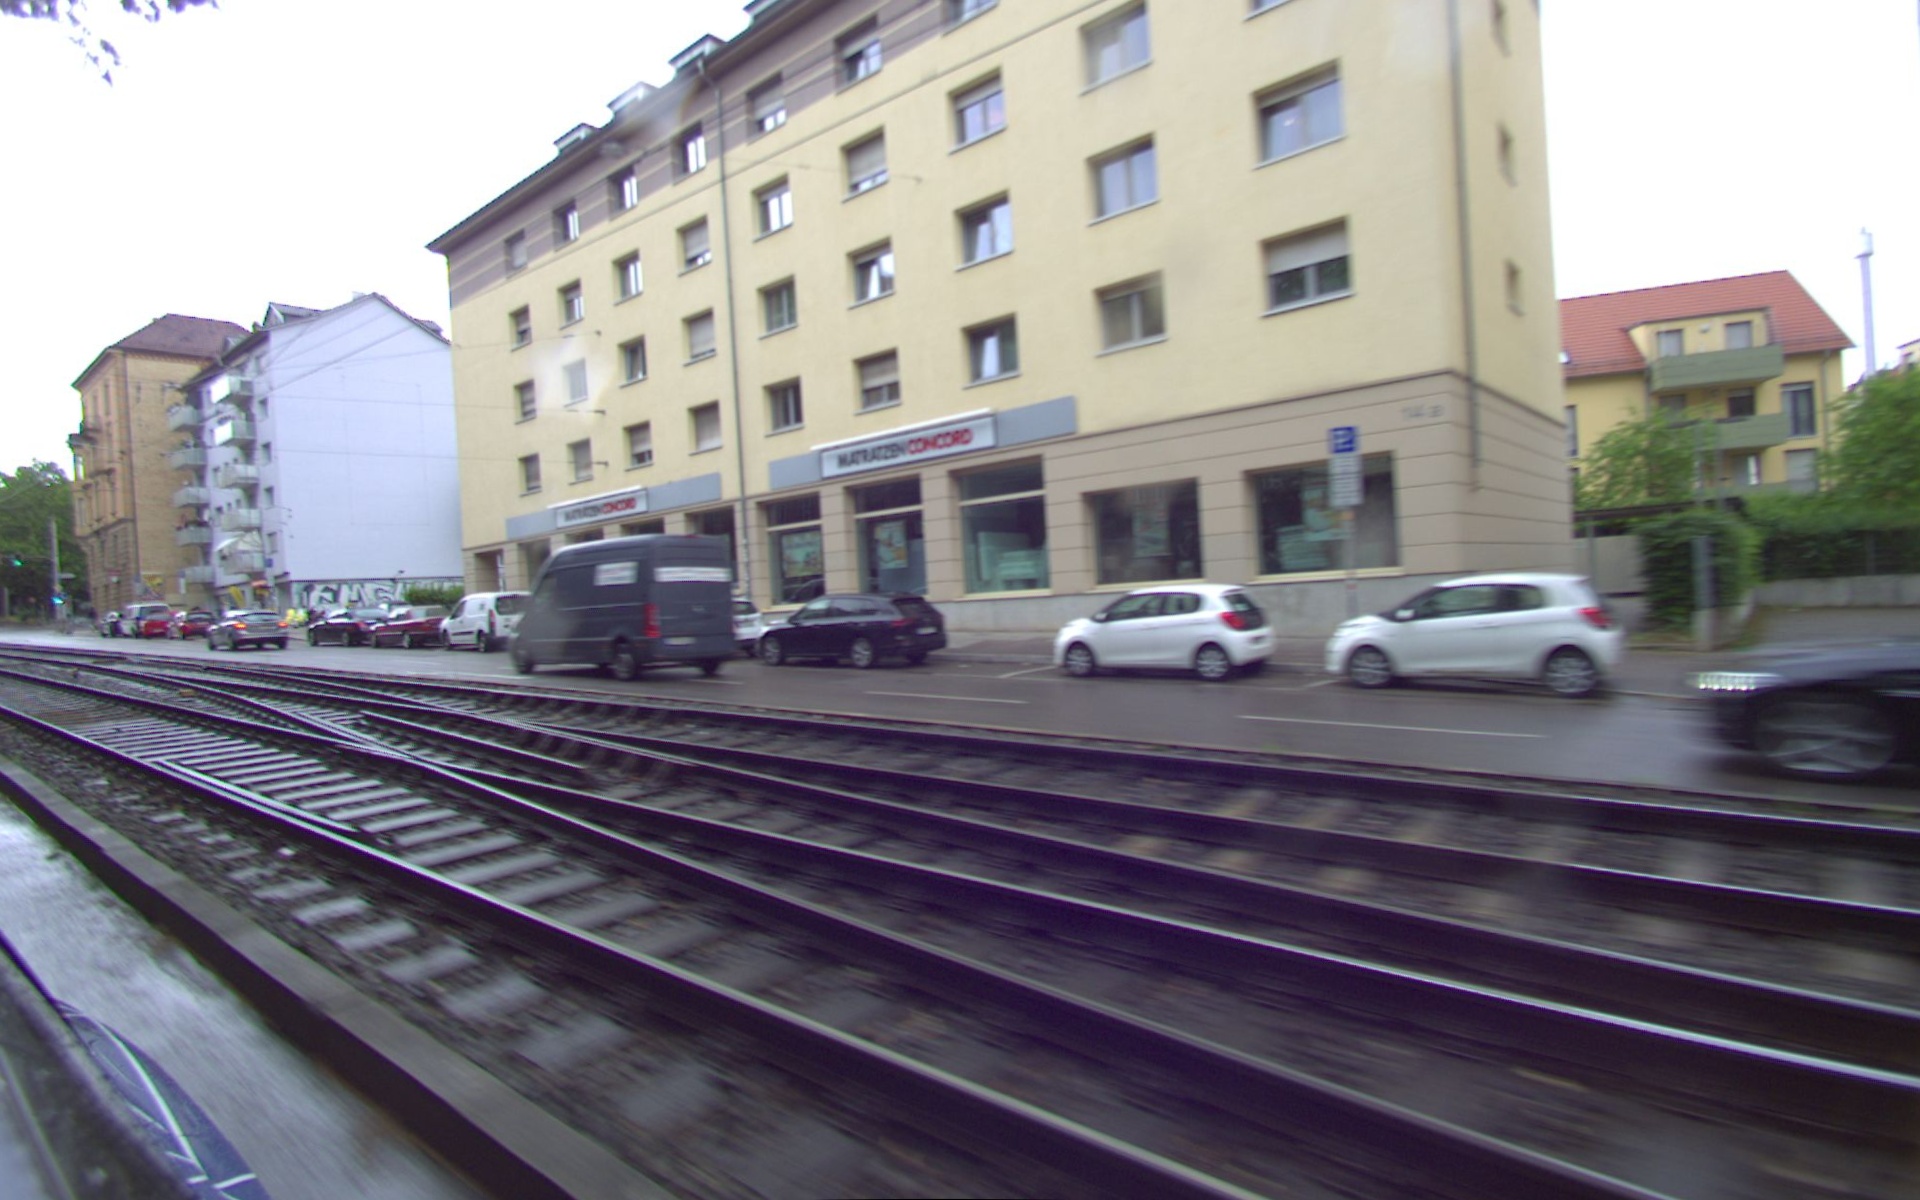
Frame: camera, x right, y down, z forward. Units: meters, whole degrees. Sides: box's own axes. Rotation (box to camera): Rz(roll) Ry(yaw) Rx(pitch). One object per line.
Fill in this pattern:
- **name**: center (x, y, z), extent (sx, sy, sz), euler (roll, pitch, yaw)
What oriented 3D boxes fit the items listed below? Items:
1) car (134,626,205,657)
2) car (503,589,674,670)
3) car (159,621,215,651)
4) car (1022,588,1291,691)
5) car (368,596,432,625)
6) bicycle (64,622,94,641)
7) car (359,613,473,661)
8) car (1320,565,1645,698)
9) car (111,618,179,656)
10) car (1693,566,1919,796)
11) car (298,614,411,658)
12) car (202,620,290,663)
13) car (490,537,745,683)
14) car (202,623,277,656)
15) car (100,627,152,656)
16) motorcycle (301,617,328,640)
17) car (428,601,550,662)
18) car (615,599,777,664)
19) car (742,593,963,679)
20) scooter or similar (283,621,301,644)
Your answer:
- **car**: center (-45.138, 2.343, 57.902), extent (1.755, 1.444, 3.994), euler (-3, 1, -16)
- **car**: center (-10.241, 0.785, 27.661), extent (5.457, 1.919, 1.973), euler (-2, 2, 42)
- **car**: center (-40.976, 1.876, 53.623), extent (4.073, 1.462, 1.636), euler (-1, 1, 43)
- **car**: center (3.126, 0.612, 16.488), extent (3.931, 1.407, 1.688), euler (-2, 2, 39)
- **car**: center (-29.449, 0.561, 53.148), extent (1.849, 1.313, 4.482), euler (-3, 0, -43)
- **bicycle**: center (-87.247, 3.153, 100.228), extent (0.555, 1.710, 2.073), euler (2, 3, 34)
- **car**: center (-19.128, 1.261, 35.498), extent (4.828, 1.443, 1.833), euler (-1, 2, 41)
- **car**: center (6.843, 0.374, 13.372), extent (3.537, 1.460, 1.692), euler (-2, 3, 38)
- **car**: center (-48.952, 2.216, 60.749), extent (5.298, 2.023, 2.050), euler (-2, 3, 40)
- **car**: center (7.778, 0.485, 6.475), extent (4.851, 1.497, 1.861), euler (-1, 0, 41)
- **car**: center (-23.263, 1.372, 38.814), extent (4.980, 1.519, 1.835), euler (-1, 1, 35)
- **car**: center (-26.575, 1.517, 37.612), extent (4.278, 1.473, 1.694), euler (-2, 0, 41)
- **car**: center (-6.891, 0.168, 19.910), extent (5.995, 2.470, 1.973), euler (-1, 1, 41)
- **car**: center (-33.646, 1.806, 47.244), extent (4.617, 1.406, 1.663), euler (-1, 1, 39)
- **car**: center (-53.068, 2.619, 64.364), extent (4.360, 1.663, 1.716), euler (-2, 1, 40)
- **motorcycle**: center (-36.366, 1.606, 57.011), extent (1.783, 1.209, 0.633), euler (0, 5, 39)
- **car**: center (-14.806, 0.947, 31.728), extent (4.459, 1.730, 1.847), euler (-1, 1, 42)
- **car**: center (-6.424, 0.772, 24.414), extent (4.043, 1.450, 1.675), euler (-2, -3, 38)
- **car**: center (-2.295, 0.714, 20.756), extent (4.579, 1.510, 1.795), euler (-2, 2, 40)
- **scooter or similar**: center (-37.575, 1.802, 56.942), extent (0.614, 1.209, 1.900), euler (-5, 2, -30)
